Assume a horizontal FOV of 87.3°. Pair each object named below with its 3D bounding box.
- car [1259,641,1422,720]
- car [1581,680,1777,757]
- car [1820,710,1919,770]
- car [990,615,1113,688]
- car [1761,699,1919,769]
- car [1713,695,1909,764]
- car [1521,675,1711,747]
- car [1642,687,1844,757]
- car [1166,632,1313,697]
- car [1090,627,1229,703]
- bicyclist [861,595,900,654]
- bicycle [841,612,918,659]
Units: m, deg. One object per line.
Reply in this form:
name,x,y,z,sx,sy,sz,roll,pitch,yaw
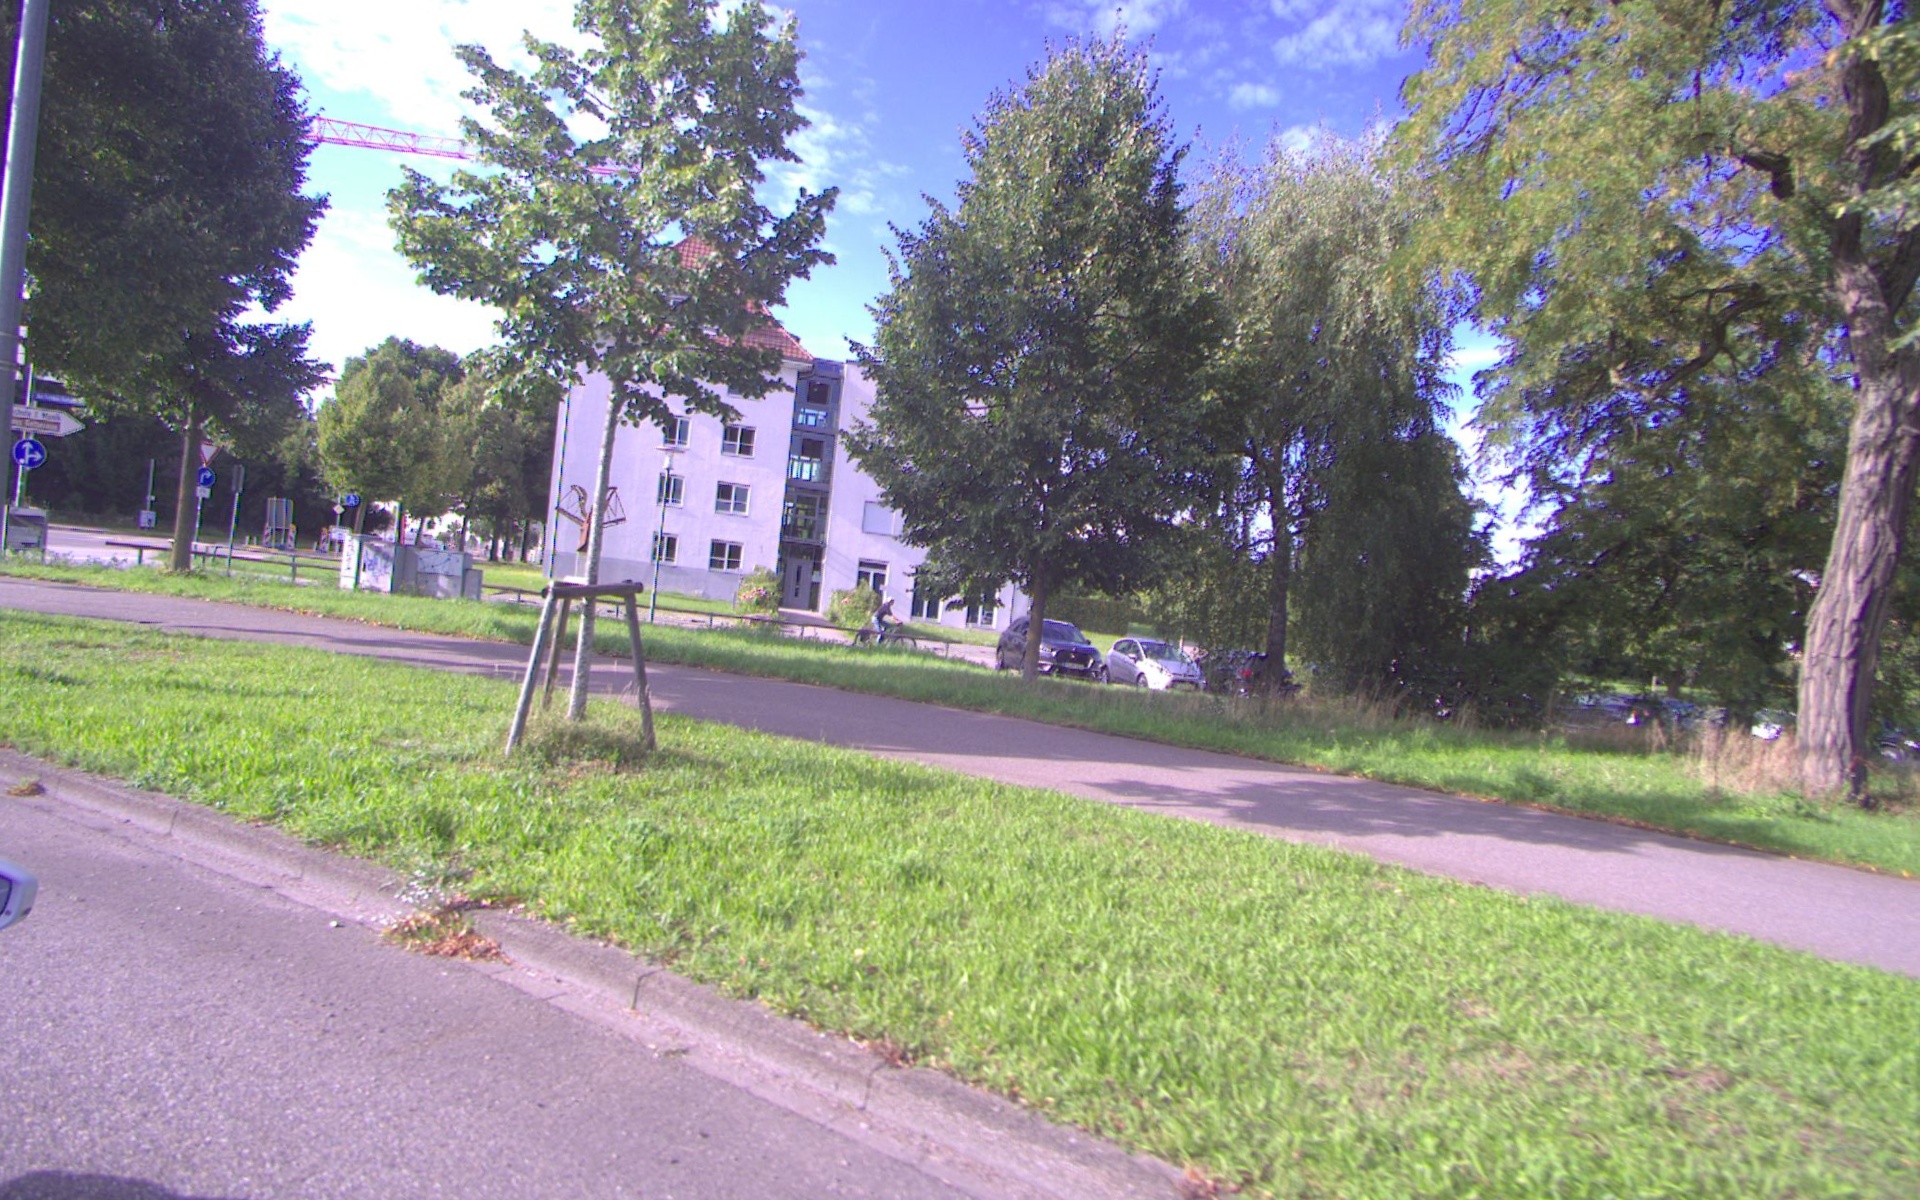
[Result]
car,10.241,2.120,27.534,1.830,1.534,4.723,6,0,-11
car,21.444,3.488,30.299,1.830,1.534,4.737,6,0,-11
car,31.100,4.682,32.718,1.830,1.534,4.459,6,0,-11
car,2.231,1.241,25.808,1.830,1.398,4.505,6,0,-11
car,28.672,4.272,31.943,1.830,1.534,4.934,6,0,-11
car,26.593,4.004,31.679,1.830,1.379,4.459,6,0,-11
car,19.154,3.209,29.695,1.830,1.376,4.723,6,0,-11
car,24.123,3.706,31.276,1.830,1.375,4.823,6,0,-11
car,7.436,1.695,27.340,1.830,1.222,4.723,6,0,-11
car,5.121,1.632,26.613,1.830,1.457,4.723,6,0,-11
bicyclist,-2.332,0.716,29.664,0.943,1.594,0.772,6,1,-3
bicycle,-2.361,1.040,29.673,2.111,1.151,0.772,7,0,-3
